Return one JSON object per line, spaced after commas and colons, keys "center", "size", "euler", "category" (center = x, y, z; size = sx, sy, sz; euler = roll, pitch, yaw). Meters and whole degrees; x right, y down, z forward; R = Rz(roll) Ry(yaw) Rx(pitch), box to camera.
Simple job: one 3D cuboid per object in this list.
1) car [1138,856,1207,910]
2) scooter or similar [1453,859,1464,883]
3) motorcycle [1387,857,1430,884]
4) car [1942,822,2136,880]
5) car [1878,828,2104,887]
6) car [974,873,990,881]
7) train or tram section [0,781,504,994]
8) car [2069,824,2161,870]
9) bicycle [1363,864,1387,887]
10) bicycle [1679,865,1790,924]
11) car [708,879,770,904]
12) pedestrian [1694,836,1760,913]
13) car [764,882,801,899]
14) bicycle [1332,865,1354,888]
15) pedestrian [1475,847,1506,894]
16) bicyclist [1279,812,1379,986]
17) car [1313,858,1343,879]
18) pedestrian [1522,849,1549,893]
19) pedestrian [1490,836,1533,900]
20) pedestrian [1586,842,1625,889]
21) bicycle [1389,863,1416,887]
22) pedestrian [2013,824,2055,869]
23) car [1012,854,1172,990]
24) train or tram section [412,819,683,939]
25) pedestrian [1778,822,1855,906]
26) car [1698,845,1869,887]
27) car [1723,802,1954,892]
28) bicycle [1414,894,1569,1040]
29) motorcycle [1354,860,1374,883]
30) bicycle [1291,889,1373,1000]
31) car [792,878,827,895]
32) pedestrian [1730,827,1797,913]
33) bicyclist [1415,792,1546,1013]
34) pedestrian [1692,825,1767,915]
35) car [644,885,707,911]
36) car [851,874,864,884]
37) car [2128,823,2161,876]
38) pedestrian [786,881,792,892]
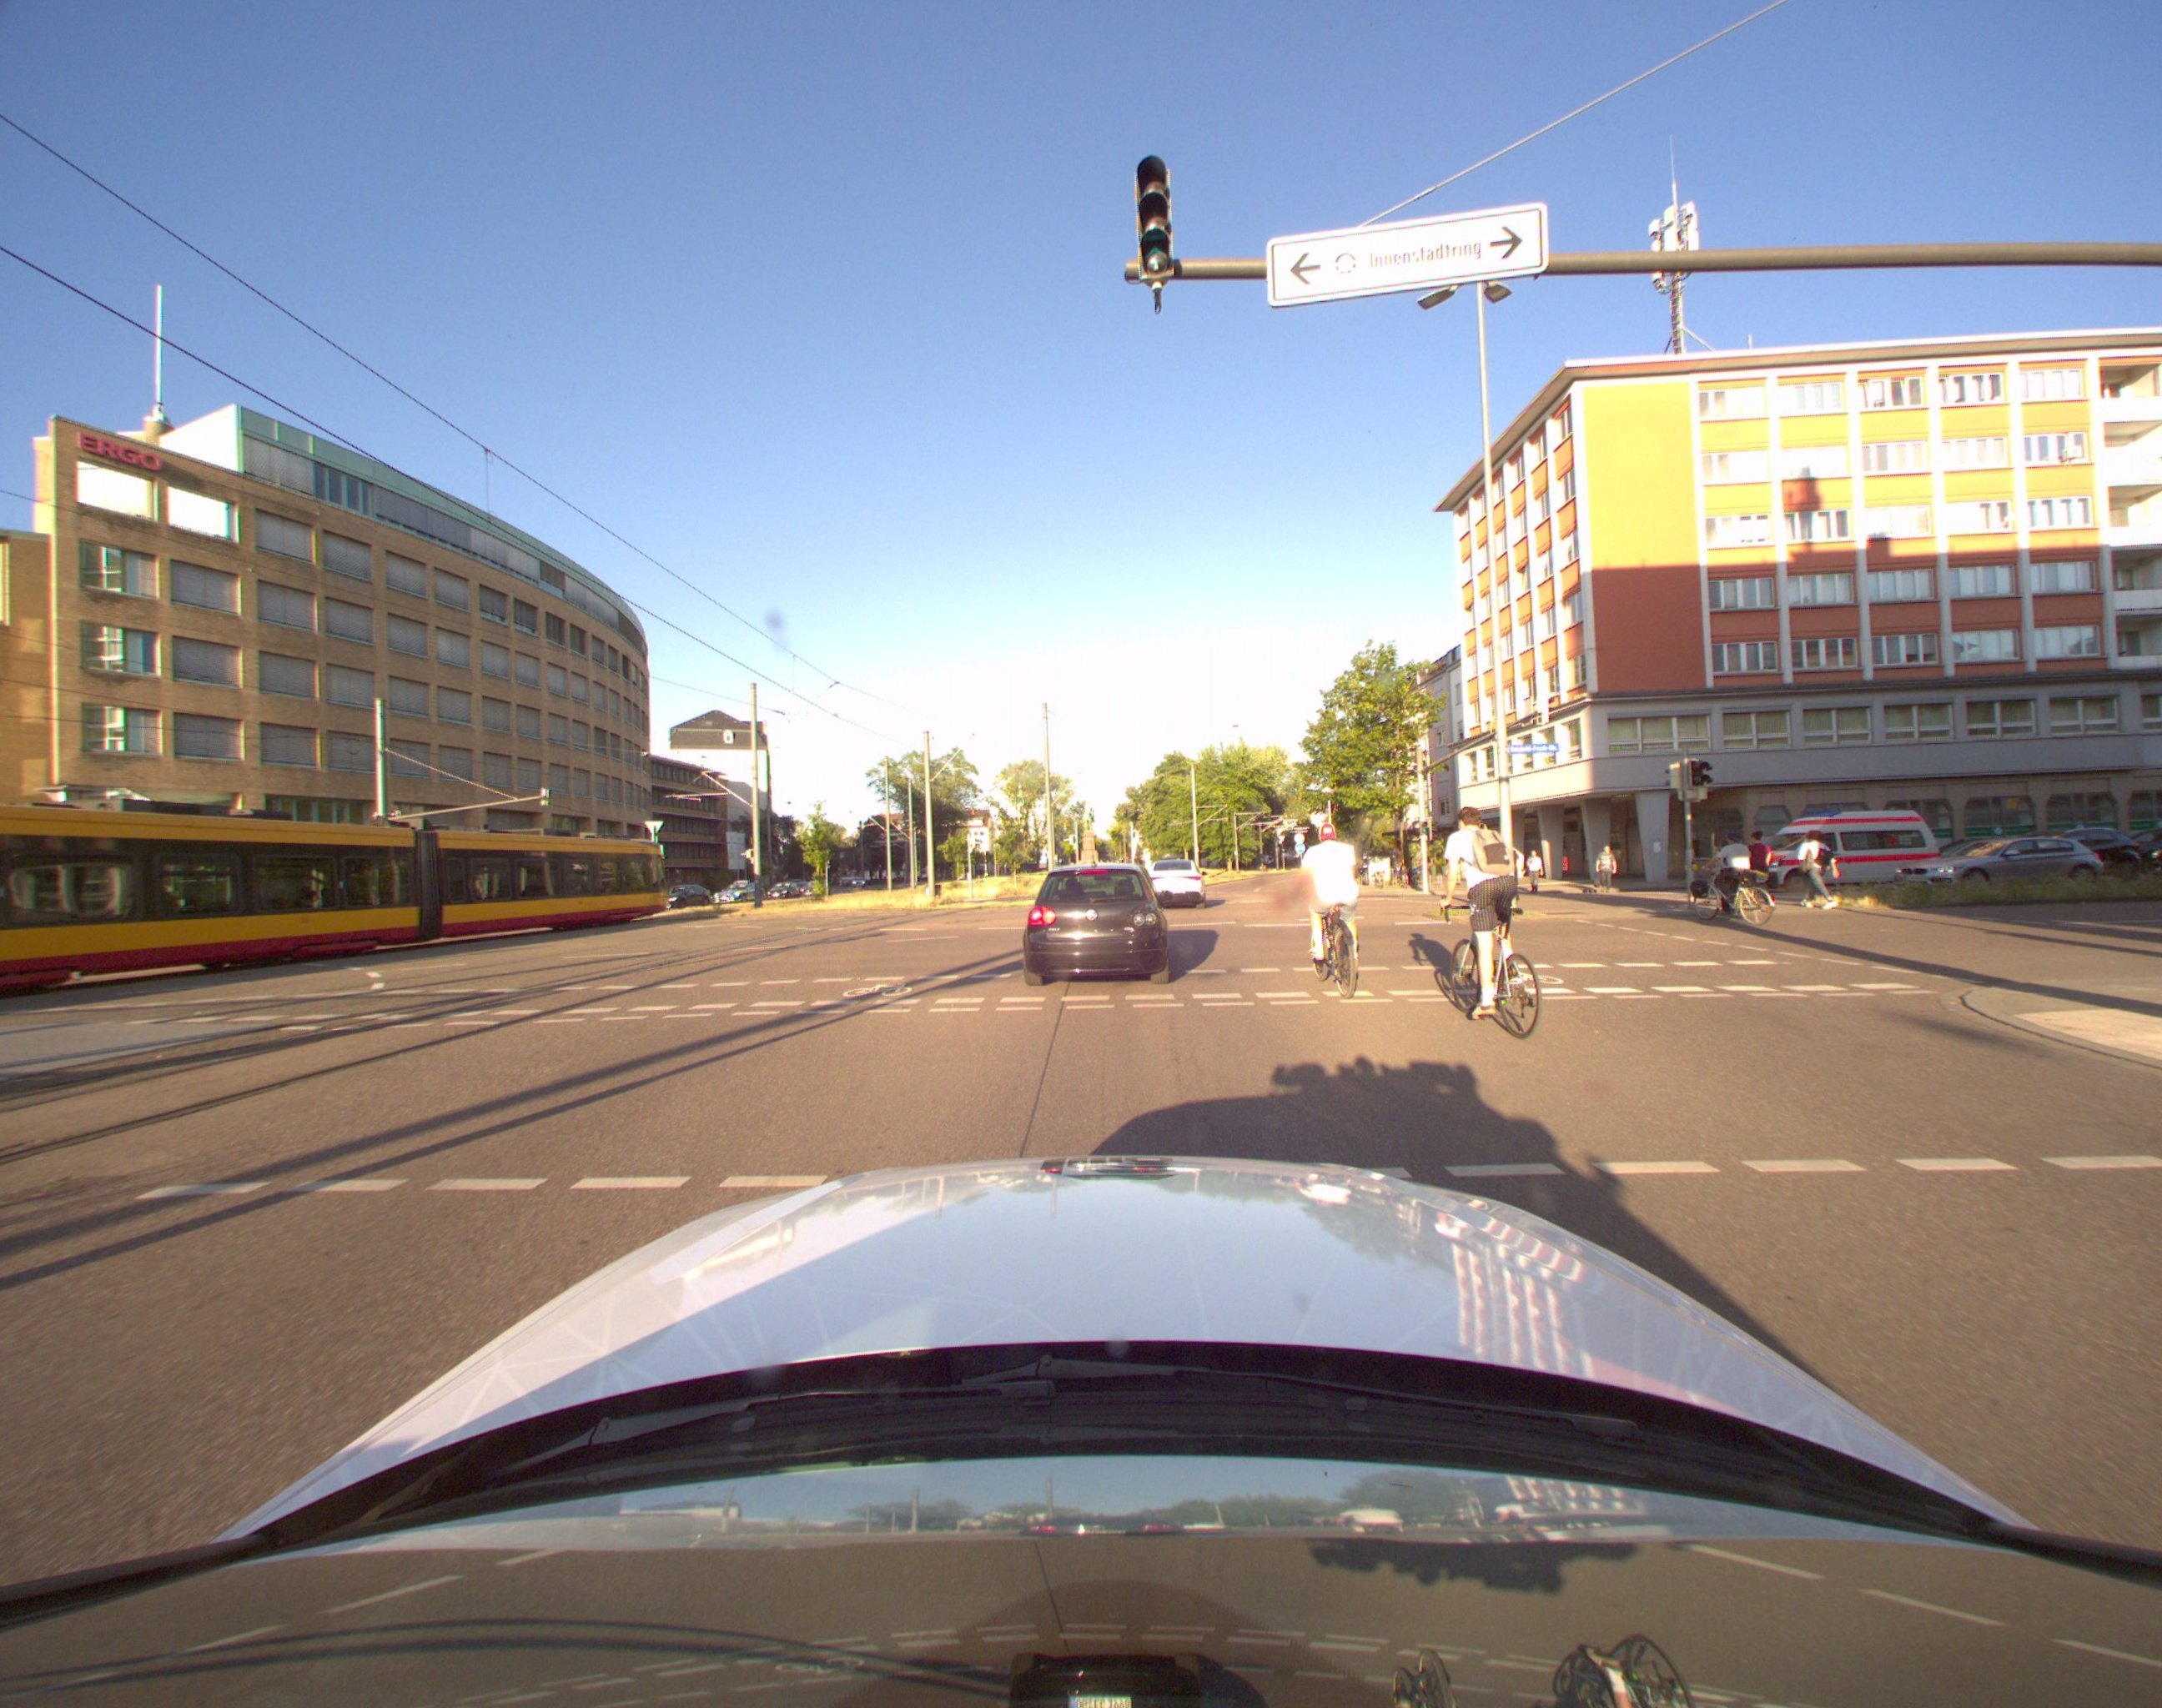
{"center": [2.847, 0.838, 24.745], "size": [1.854, 1.441, 4.206], "euler": [-2, -1, 8], "category": "car"}
{"center": [20.534, 0.905, 44.320], "size": [0.411, 1.254, 1.189], "euler": [-2, -1, 21], "category": "scooter or similar"}
{"center": [18.301, 0.906, 45.548], "size": [2.031, 1.406, 0.762], "euler": [-2, -1, 9], "category": "motorcycle"}
{"center": [29.546, -0.075, 25.202], "size": [4.058, 1.571, 1.597], "euler": [-2, -1, 0], "category": "car"}
{"center": [24.560, 0.125, 22.094], "size": [3.972, 1.376, 1.807], "euler": [-2, -2, 2], "category": "car"}
{"center": [-21.567, 5.041, 177.865], "size": [3.329, 1.507, 1.657], "euler": [-2, -1, -2], "category": "car"}
{"center": [-19.184, 0.664, 18.198], "size": [2.763, 3.536, 13.254], "euler": [-2, -1, 1], "category": "train or tram section"}
{"center": [39.873, -0.299, 30.143], "size": [3.969, 1.574, 2.002], "euler": [-2, -1, 4], "category": "car"}
{"center": [15.374, 1.118, 42.669], "size": [0.642, 1.127, 1.876], "euler": [-2, 0, 4], "category": "bicycle"}
{"center": [11.909, 0.709, 14.925], "size": [0.519, 0.981, 1.850], "euler": [-2, -1, 0], "category": "bicycle"}
{"center": [-23.443, 2.558, 56.017], "size": [1.880, 1.480, 4.787], "euler": [-2, -1, 4], "category": "car"}
{"center": [13.043, 0.407, 16.462], "size": [0.679, 1.500, 0.747], "euler": [-2, -1, 3], "category": "pedestrian"}
{"center": [-23.364, 2.826, 63.842], "size": [1.515, 1.153, 3.598], "euler": [-2, -1, 0], "category": "car"}
{"center": [13.725, 1.145, 42.674], "size": [0.642, 1.127, 1.876], "euler": [-2, 0, 4], "category": "bicycle"}
{"center": [14.321, 0.570, 28.502], "size": [0.678, 1.589, 0.748], "euler": [-2, -1, 6], "category": "pedestrian"}
{"center": [2.741, 0.484, 9.115], "size": [0.822, 1.807, 1.059], "euler": [-2, -1, 6], "category": "bicyclist"}
{"center": [20.055, 1.150, 66.063], "size": [1.712, 1.472, 3.921], "euler": [-5, -2, 25], "category": "car"}
{"center": [18.009, 0.660, 32.277], "size": [0.566, 1.701, 0.813], "euler": [-2, -1, 3], "category": "pedestrian"}
{"center": [11.886, 0.391, 22.518], "size": [0.658, 1.704, 1.073], "euler": [-2, -1, 7], "category": "pedestrian"}
{"center": [19.661, 0.434, 30.548], "size": [0.780, 1.701, 1.028], "euler": [-2, -1, 3], "category": "pedestrian"}
{"center": [16.820, 1.088, 42.613], "size": [0.642, 1.158, 2.126], "euler": [-2, 0, 4], "category": "bicycle"}
{"center": [37.902, -0.285, 32.410], "size": [0.813, 1.756, 0.640], "euler": [-2, -1, 4], "category": "pedestrian"}
{"center": [0.316, 0.781, 11.092], "size": [1.739, 1.461, 4.109], "euler": [-2, -1, 6], "category": "car"}
{"center": [-18.847, 0.824, 30.089], "size": [2.763, 3.536, 10.573], "euler": [-2, -1, 1], "category": "train or tram section"}
{"center": [15.332, 0.205, 17.001], "size": [0.724, 1.662, 0.906], "euler": [-2, -1, 3], "category": "pedestrian"}
{"center": [26.045, 0.445, 30.314], "size": [4.641, 1.341, 1.841], "euler": [-2, -1, 3], "category": "car"}
{"center": [23.298, -0.208, 25.213], "size": [5.230, 2.482, 1.926], "euler": [-2, -1, 1], "category": "car"}
{"center": [3.525, 0.914, 7.176], "size": [0.572, 1.028, 1.860], "euler": [-2, -1, 6], "category": "bicycle"}
{"center": [16.550, 1.009, 47.671], "size": [0.662, 1.242, 2.206], "euler": [-2, -1, 8], "category": "motorcycle"}
{"center": [2.754, 0.945, 9.100], "size": [0.476, 1.028, 1.985], "euler": [-2, -1, 7], "category": "bicycle"}
{"center": [-23.546, 2.790, 70.742], "size": [1.639, 1.281, 3.742], "euler": [-2, -1, 2], "category": "car"}
{"center": [13.744, 0.314, 16.420], "size": [0.679, 1.662, 0.747], "euler": [-2, -1, 3], "category": "pedestrian"}
{"center": [3.503, 0.406, 7.227], "size": [0.670, 1.807, 0.995], "euler": [-2, -1, 6], "category": "bicyclist"}
{"center": [11.913, 0.303, 14.986], "size": [0.673, 1.590, 0.761], "euler": [-2, -3, 0], "category": "pedestrian"}
{"center": [-23.830, 2.565, 48.012], "size": [1.718, 1.282, 3.790], "euler": [-2, -1, 2], "category": "car"}
{"center": [-35.659, 3.923, 130.130], "size": [1.772, 1.482, 4.290], "euler": [-2, -1, -13], "category": "car"}
{"center": [31.990, -0.200, 22.360], "size": [3.970, 1.464, 1.789], "euler": [-2, -1, 3], "category": "car"}
{"center": [-37.407, 4.176, 104.329], "size": [0.412, 1.430, 0.485], "euler": [-2, -1, 2], "category": "pedestrian"}
